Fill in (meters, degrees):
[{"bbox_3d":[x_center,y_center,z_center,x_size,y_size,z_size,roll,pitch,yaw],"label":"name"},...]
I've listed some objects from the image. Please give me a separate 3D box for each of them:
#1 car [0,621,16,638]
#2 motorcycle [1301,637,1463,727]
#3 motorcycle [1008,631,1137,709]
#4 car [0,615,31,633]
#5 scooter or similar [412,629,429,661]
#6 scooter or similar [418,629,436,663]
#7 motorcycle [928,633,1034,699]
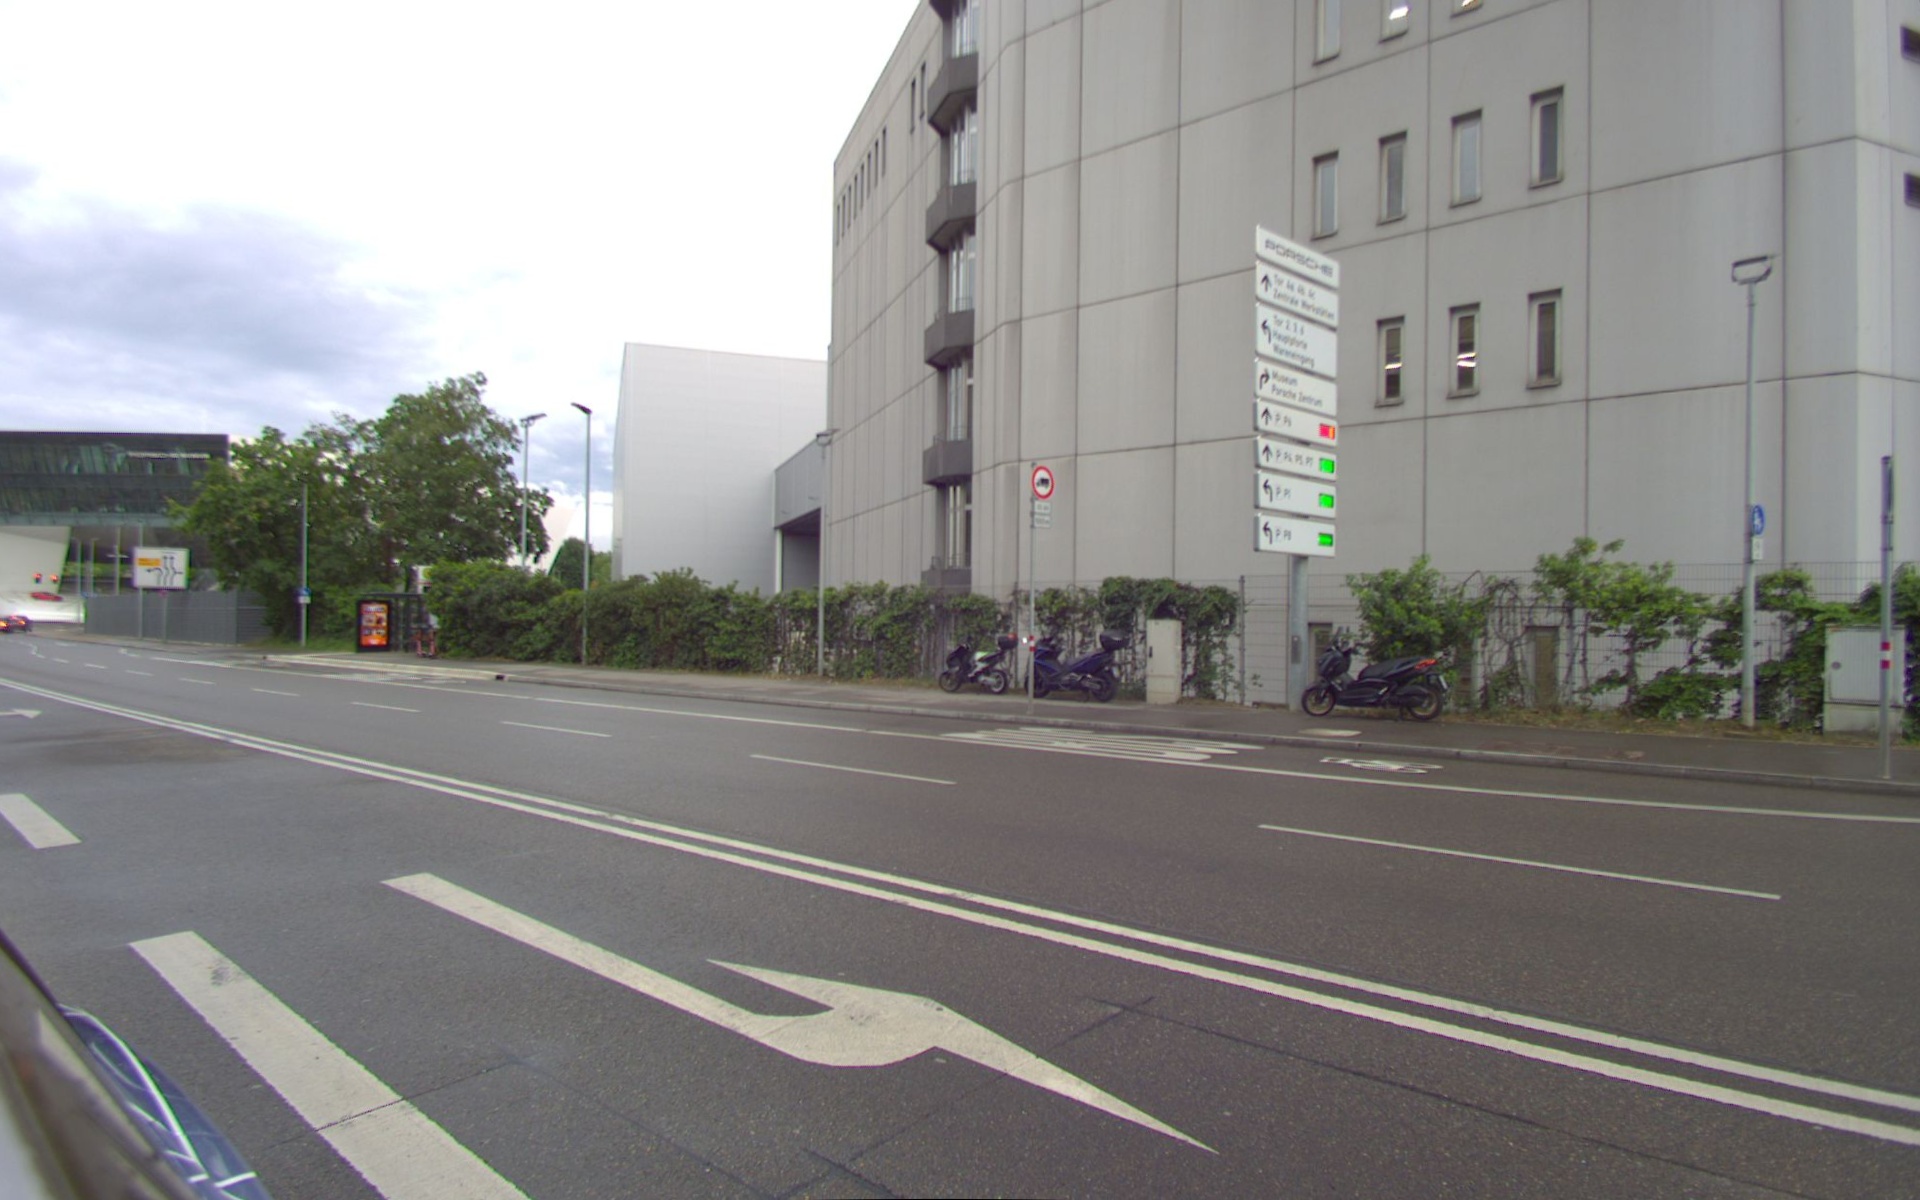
[{"bbox_3d":[-84.990,2.586,88.927,2.233,1.488,4.059,1,-1,-32],"label":"car"},{"bbox_3d":[6.405,1.206,15.444,2.156,1.257,0.777,-1,-2,40],"label":"motorcycle"},{"bbox_3d":[2.054,1.257,18.795,2.368,1.358,0.776,-1,-2,40],"label":"motorcycle"},{"bbox_3d":[-88.746,2.258,94.686,1.834,1.663,3.799,1,-2,-30],"label":"car"},{"bbox_3d":[-20.311,1.682,38.105,0.383,1.189,1.253,1,-2,-36],"label":"scooter or similar"},{"bbox_3d":[-19.425,1.659,36.882,0.373,1.190,1.380,1,-2,-36],"label":"scooter or similar"},{"bbox_3d":[0.410,1.309,20.639,2.156,1.260,0.777,-1,-2,40],"label":"motorcycle"}]
